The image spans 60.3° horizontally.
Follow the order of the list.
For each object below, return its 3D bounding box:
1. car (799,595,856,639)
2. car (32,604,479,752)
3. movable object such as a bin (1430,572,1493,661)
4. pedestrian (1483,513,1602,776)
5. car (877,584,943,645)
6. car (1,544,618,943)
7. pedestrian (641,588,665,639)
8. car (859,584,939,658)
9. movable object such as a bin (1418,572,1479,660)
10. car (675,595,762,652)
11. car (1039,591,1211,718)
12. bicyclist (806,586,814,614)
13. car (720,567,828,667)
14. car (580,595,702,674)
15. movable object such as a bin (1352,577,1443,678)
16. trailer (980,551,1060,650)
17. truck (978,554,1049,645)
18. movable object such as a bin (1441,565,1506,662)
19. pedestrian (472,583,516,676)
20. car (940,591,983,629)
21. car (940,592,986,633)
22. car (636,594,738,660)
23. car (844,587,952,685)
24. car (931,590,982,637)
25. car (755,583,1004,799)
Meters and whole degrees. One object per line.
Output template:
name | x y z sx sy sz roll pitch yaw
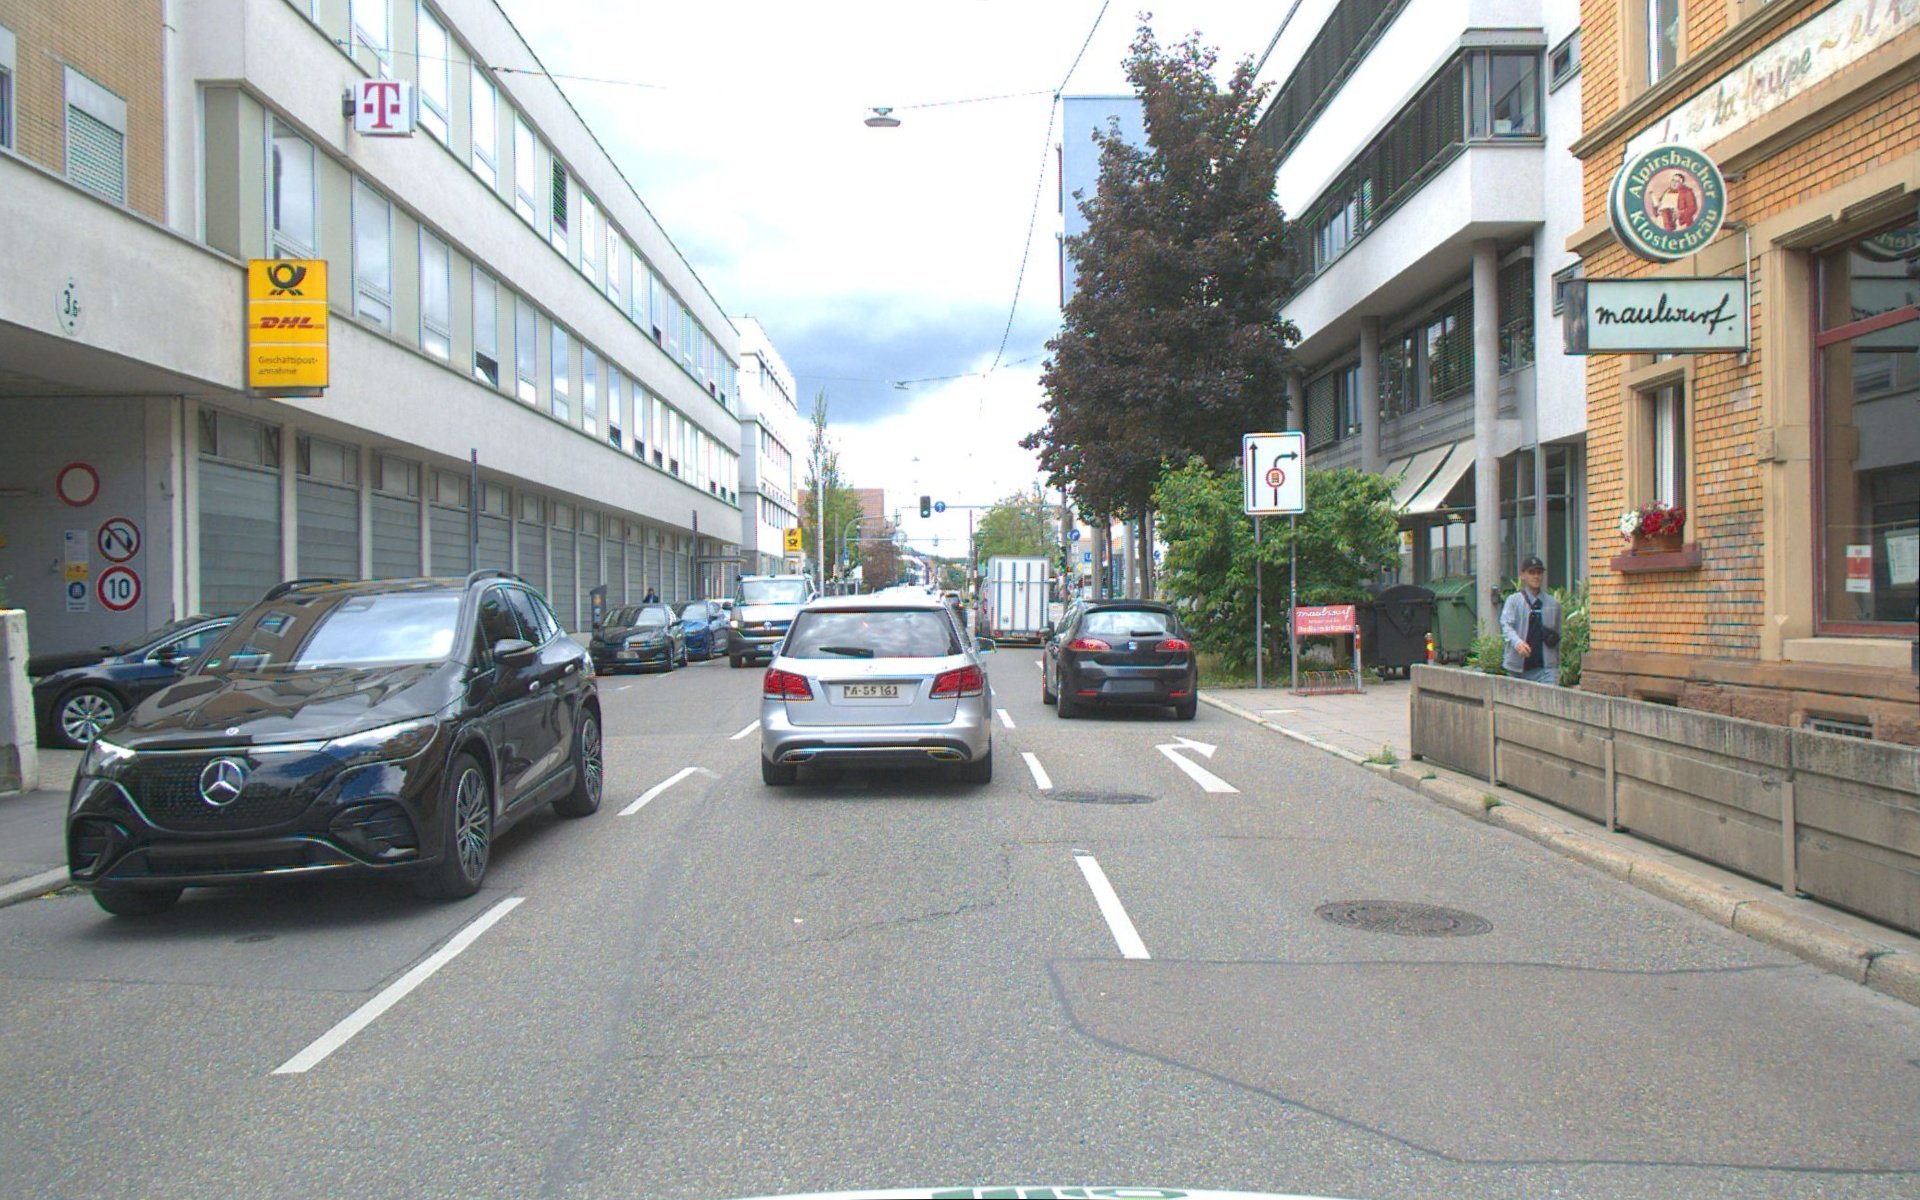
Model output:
car | -4.671 0.563 58.872 1.733 1.438 4.174 -2 0 -1
car | -7.697 0.774 18.183 4.353 1.389 1.767 -1 0 -31
movable object such as a bin | 8.886 0.289 29.327 0.804 1.516 0.732 -3 -1 0
pedestrian | 4.660 0.343 13.262 0.679 2.049 0.676 -1 0 -2
car | -1.381 0.375 46.332 1.767 1.629 3.736 0 0 -1
car | -3.509 0.656 10.015 1.953 1.769 4.552 -3 0 -1
pedestrian | -10.038 0.429 54.072 0.642 1.651 0.681 -1 0 0
car | -1.396 0.456 38.605 1.767 1.629 3.736 0 0 -1
movable object such as a bin | 8.882 0.287 30.085 0.804 1.530 0.732 -3 -1 0
car | -6.877 0.639 47.426 1.953 1.543 4.174 -1 0 -1
car | 2.036 0.632 21.398 1.730 1.458 3.827 -1 0 -2
bicyclist | -9.355 0.000 103.335 0.436 1.726 0.555 1 0 -2
car | -4.139 0.355 37.502 1.953 2.049 4.901 -2 0 -1
car | -6.867 0.693 35.986 1.874 1.543 4.174 -2 0 -1
movable object such as a bin | 6.836 0.420 25.908 0.924 1.496 1.445 -2 0 -3
trailer | 1.666 -0.002 47.764 1.953 2.653 5.348 -1 0 -1
truck | 1.598 -0.027 50.515 1.953 2.653 3.259 -1 0 -2
movable object such as a bin | 8.865 0.232 28.572 0.804 1.617 0.732 -3 -1 0
pedestrian | -9.180 0.577 32.589 0.629 1.800 0.809 -1 0 -1
car | 0.043 0.420 72.711 1.767 1.629 3.736 0 0 -1
car | 0.103 0.487 66.996 1.767 1.629 3.736 0 0 -1
car | -6.830 0.646 41.721 1.953 1.543 4.174 -1 0 -1
car | -1.068 0.583 29.190 1.767 1.580 3.736 -1 0 -1
car | -0.154 0.464 60.179 1.767 1.629 3.736 0 0 -1
car | -0.618 0.638 13.730 1.767 1.519 3.736 -1 0 -1
